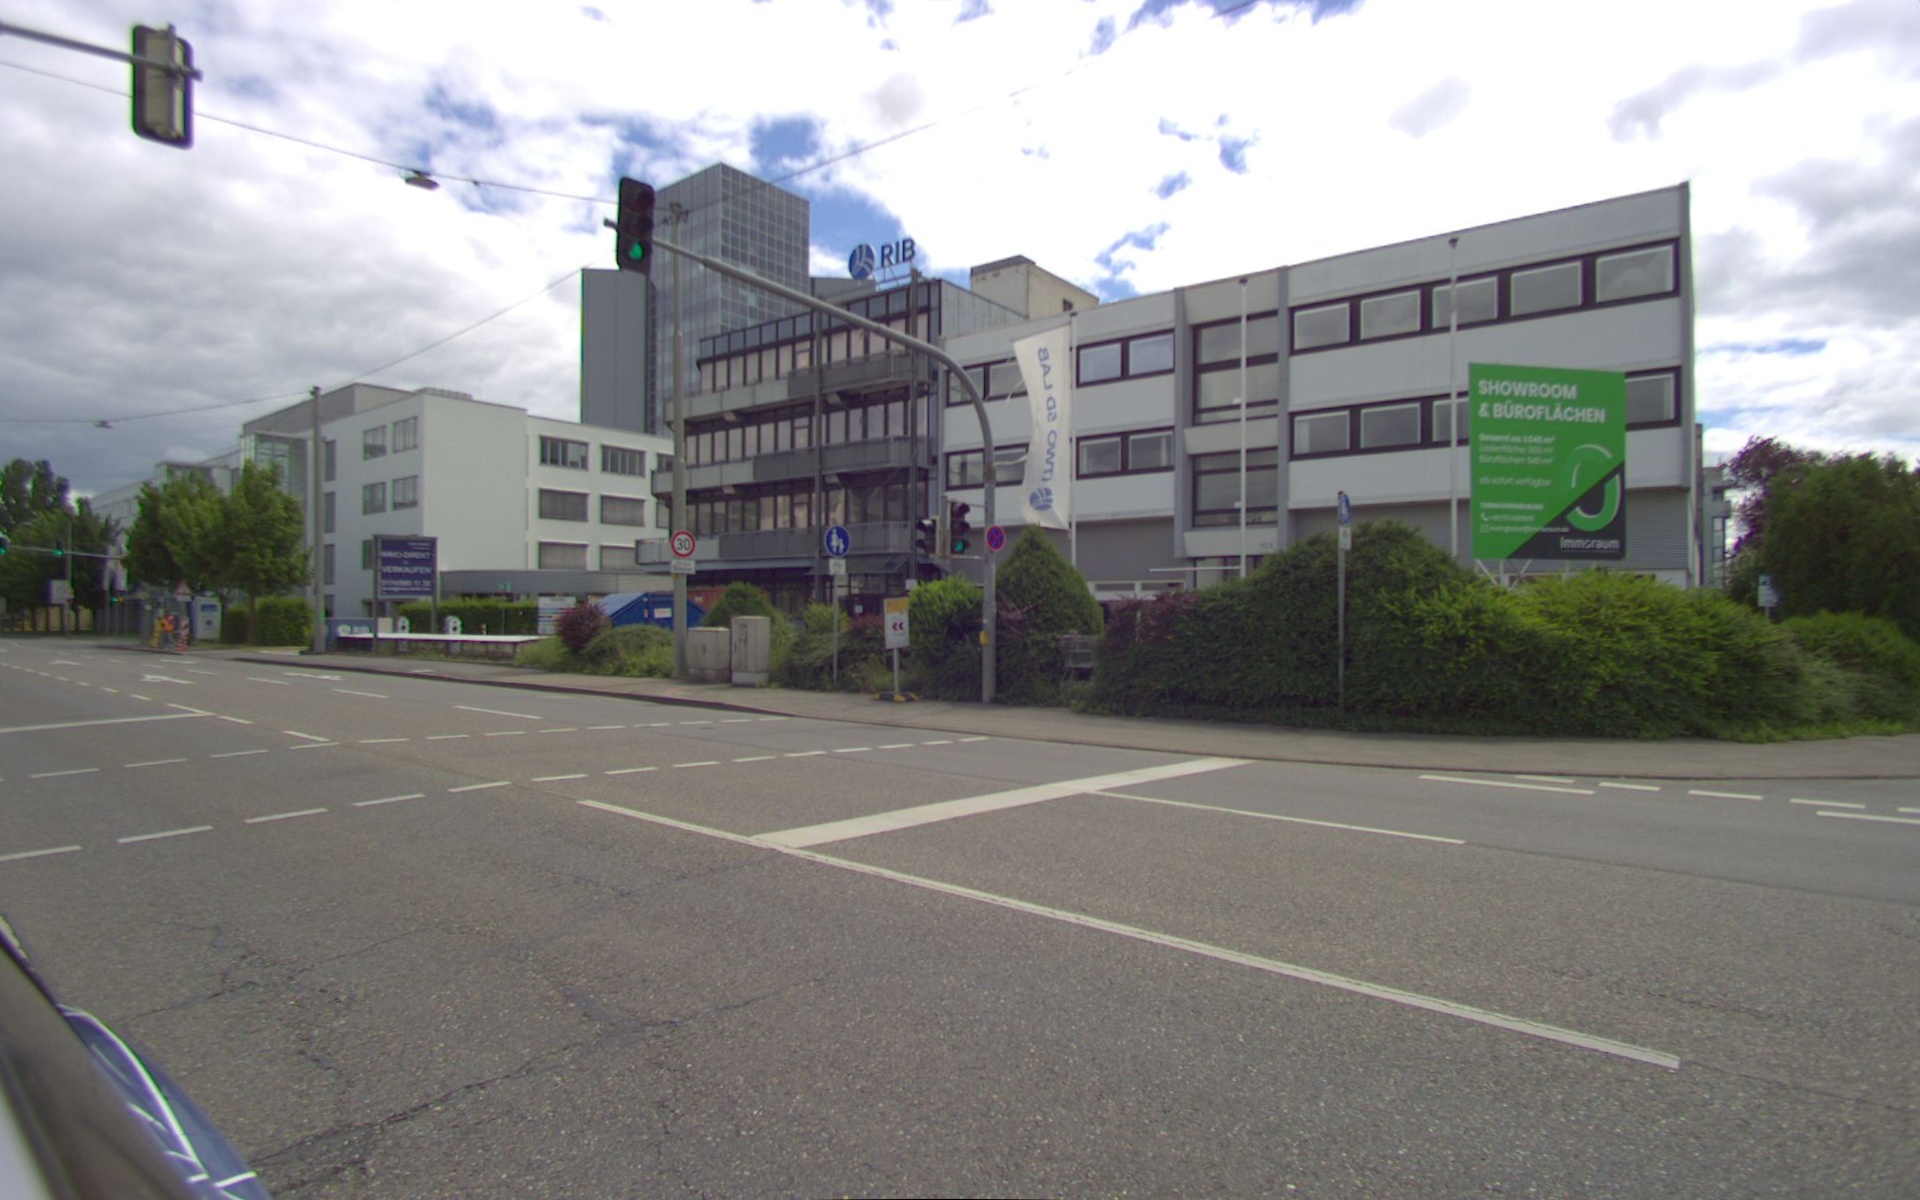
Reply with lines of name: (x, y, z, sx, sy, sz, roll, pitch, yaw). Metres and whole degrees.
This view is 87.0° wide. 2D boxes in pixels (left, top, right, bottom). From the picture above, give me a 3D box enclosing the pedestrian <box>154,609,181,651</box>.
pedestrian: (-38.776, 1.454, 49.509, 0.715, 2.029, 0.812, -1, 1, -7)
